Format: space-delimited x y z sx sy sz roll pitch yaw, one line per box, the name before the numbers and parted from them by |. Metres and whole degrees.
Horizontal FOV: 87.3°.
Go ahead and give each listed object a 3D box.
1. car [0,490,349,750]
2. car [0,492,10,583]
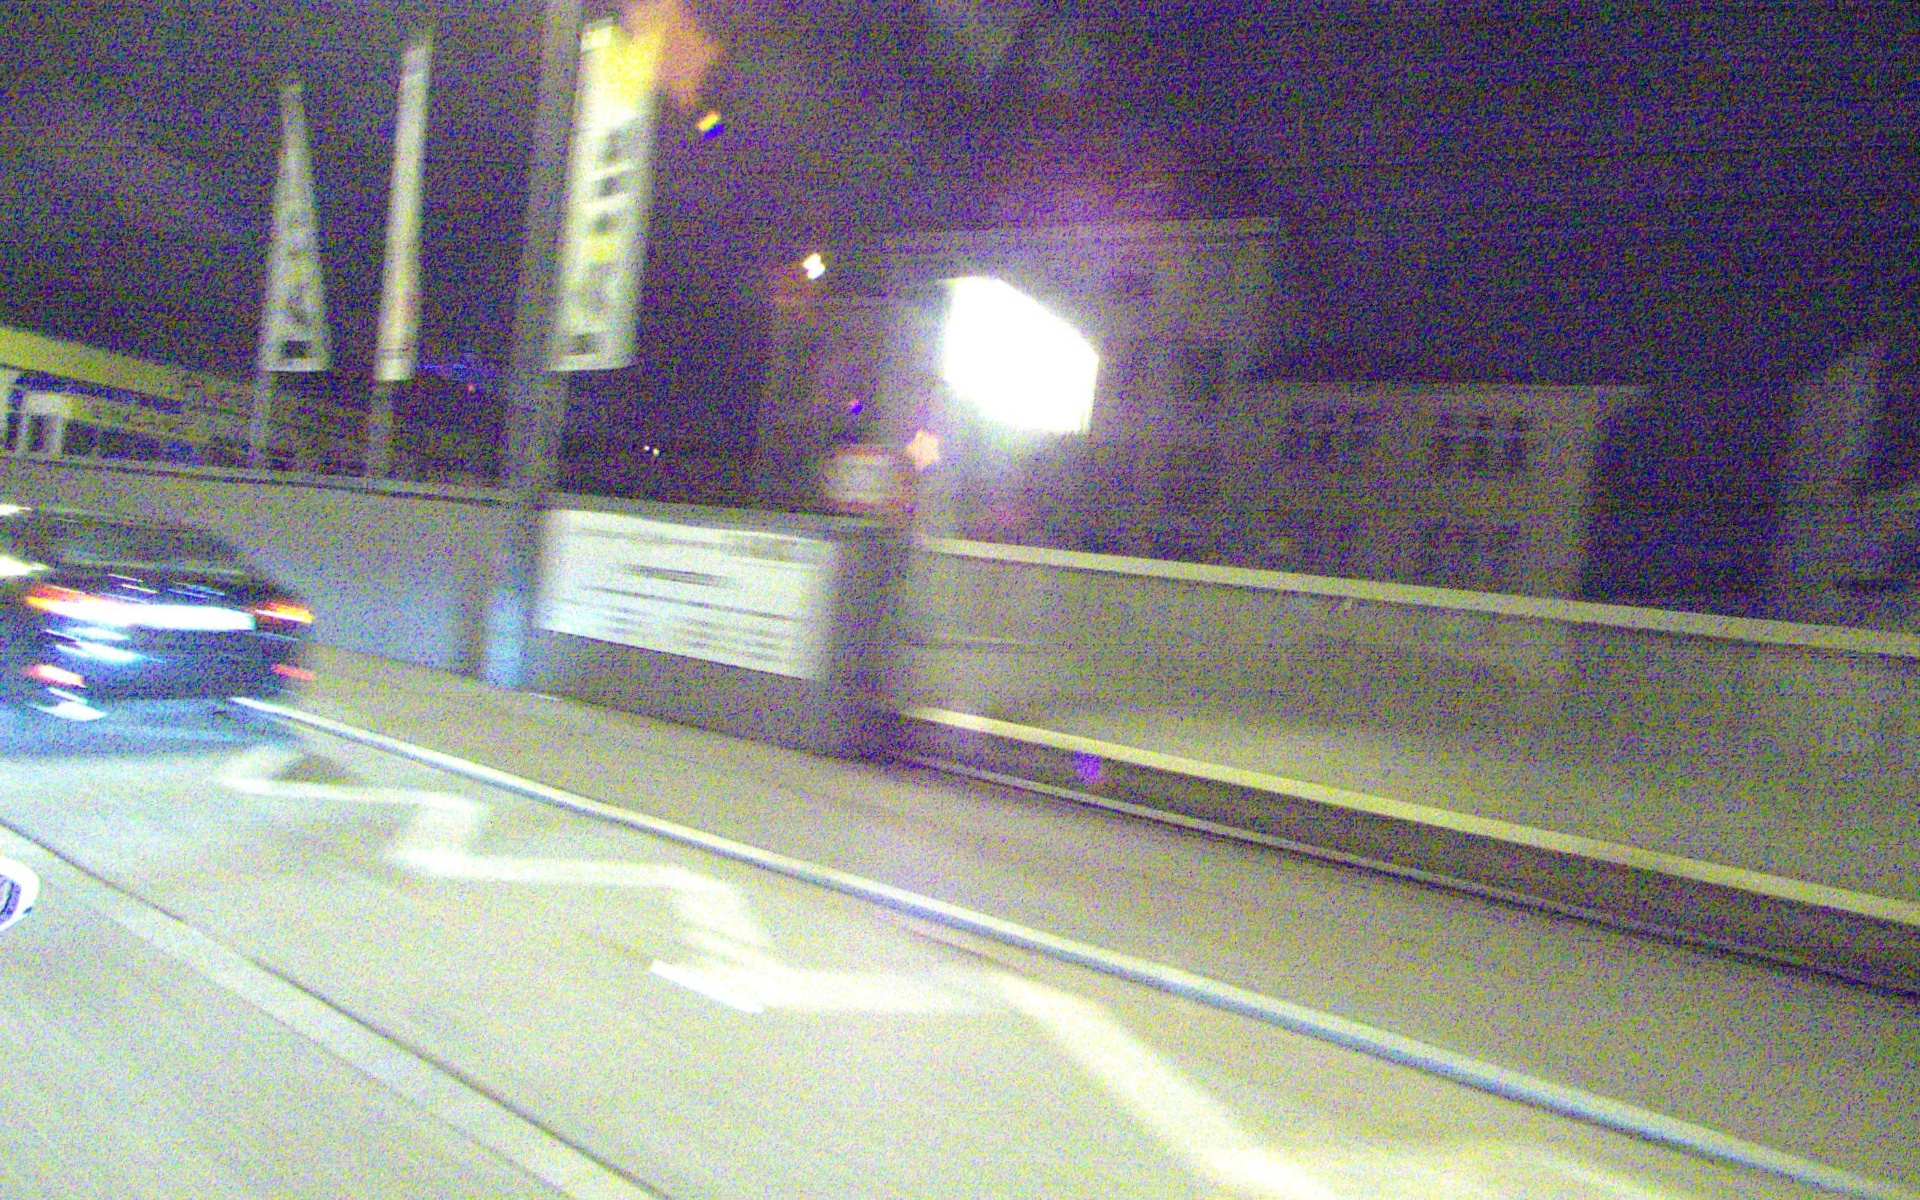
car | -6.720 -0.011 7.492 4.406 1.444 1.781 6 -1 31
car | -12.282 -0.669 10.882 3.825 1.444 1.782 6 -1 29
